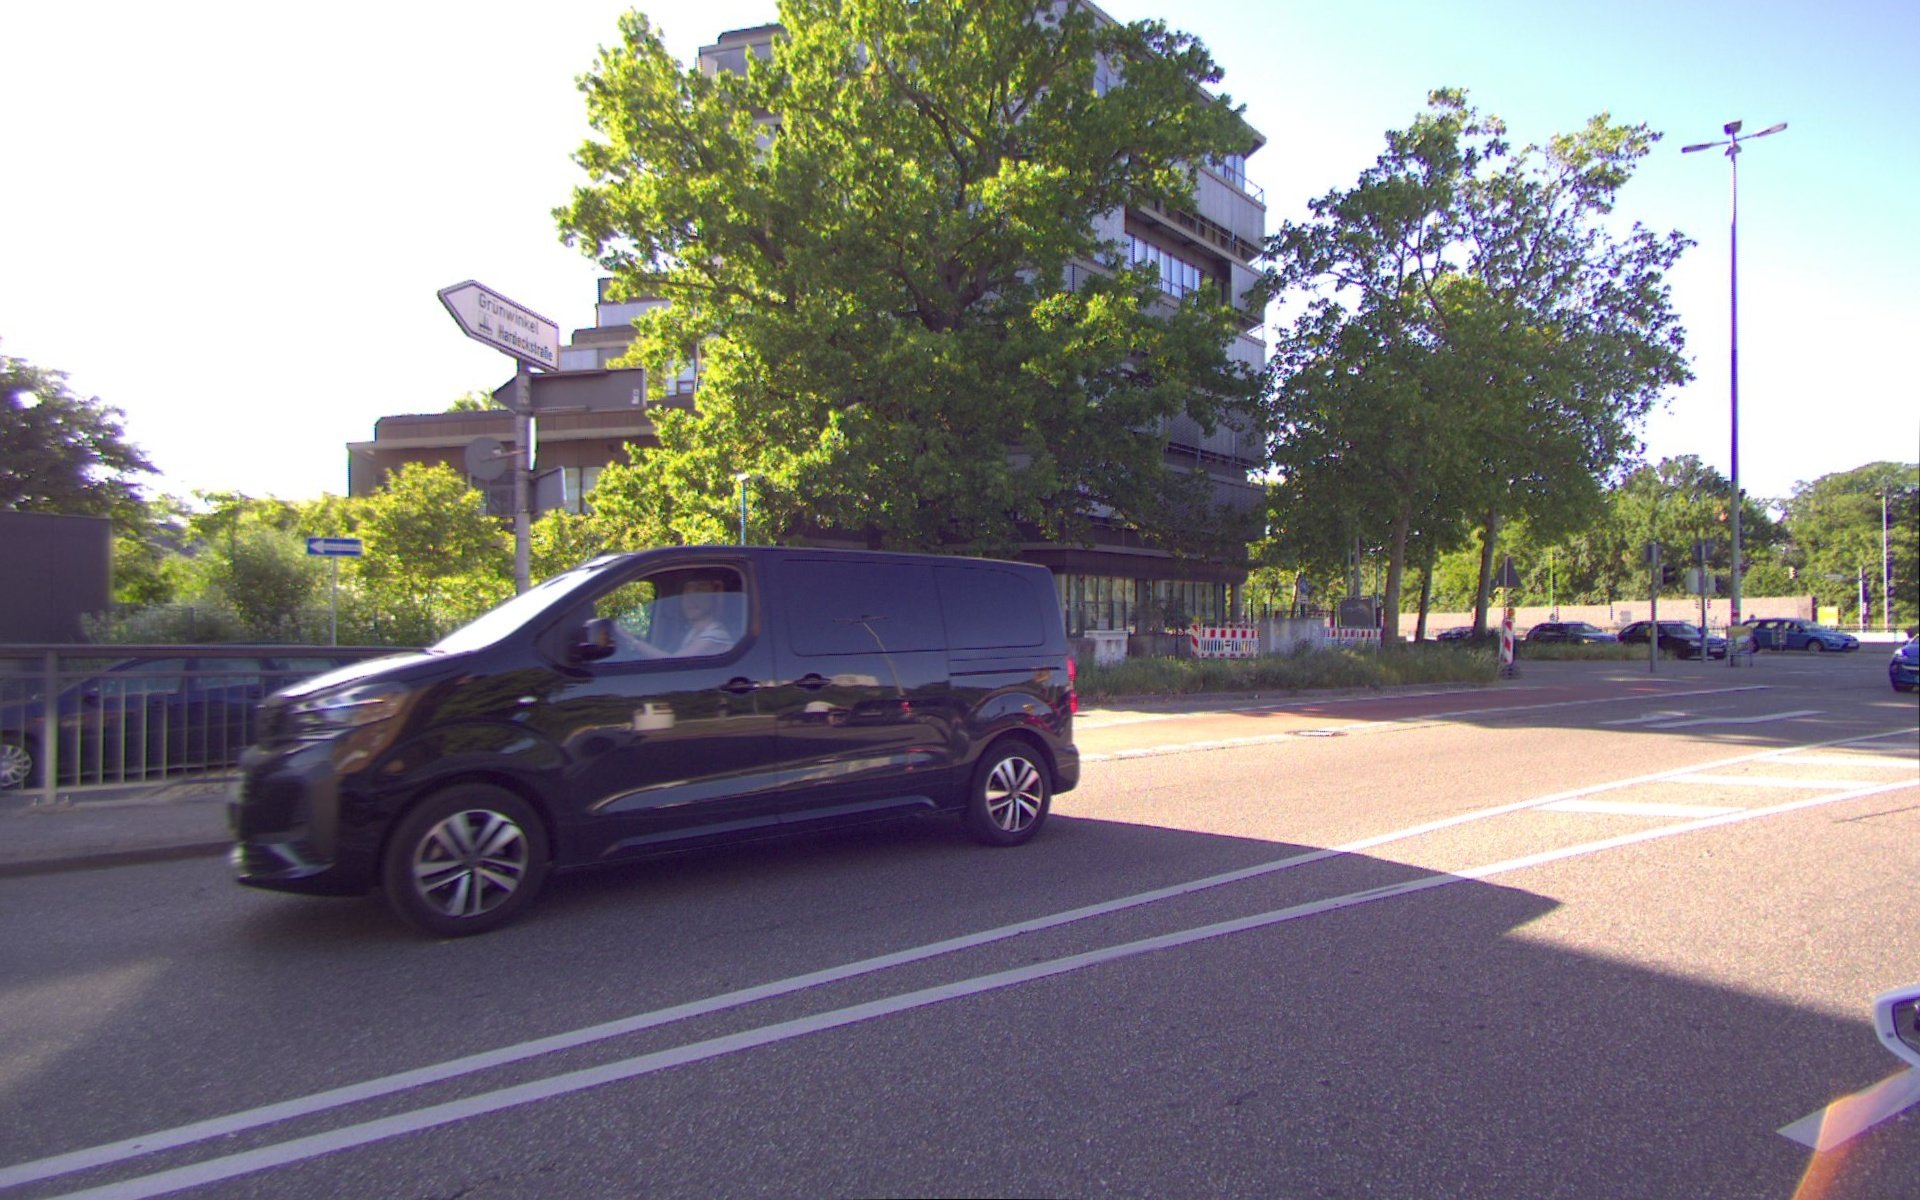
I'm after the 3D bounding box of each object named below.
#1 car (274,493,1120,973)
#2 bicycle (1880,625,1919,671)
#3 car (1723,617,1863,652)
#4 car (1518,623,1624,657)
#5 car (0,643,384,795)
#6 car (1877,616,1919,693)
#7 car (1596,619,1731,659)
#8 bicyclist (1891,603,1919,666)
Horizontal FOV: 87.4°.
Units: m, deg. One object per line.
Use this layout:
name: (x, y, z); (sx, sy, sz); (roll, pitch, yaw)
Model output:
car: (-1.396, 0.583, 6.344); (4.805, 1.961, 1.980); (1, -1, -36)
bicycle: (27.018, 1.318, 28.121); (2.287, 1.218, 0.687); (-1, -1, -13)
car: (35.935, 1.471, 43.508); (1.796, 1.457, 4.437); (0, -2, -16)
car: (27.582, 1.785, 45.523); (1.792, 1.457, 4.447); (0, -1, -6)
car: (-9.541, 1.315, 12.035); (4.410, 1.523, 1.807); (1, -2, -37)
car: (20.997, 1.087, 20.877); (4.403, 1.523, 1.810); (1, -2, -33)
car: (27.196, 1.471, 39.045); (1.792, 1.457, 4.447); (0, -1, -6)
bicyclist: (26.916, 0.949, 28.104); (1.177, 1.724, 0.687); (-1, -1, -13)
